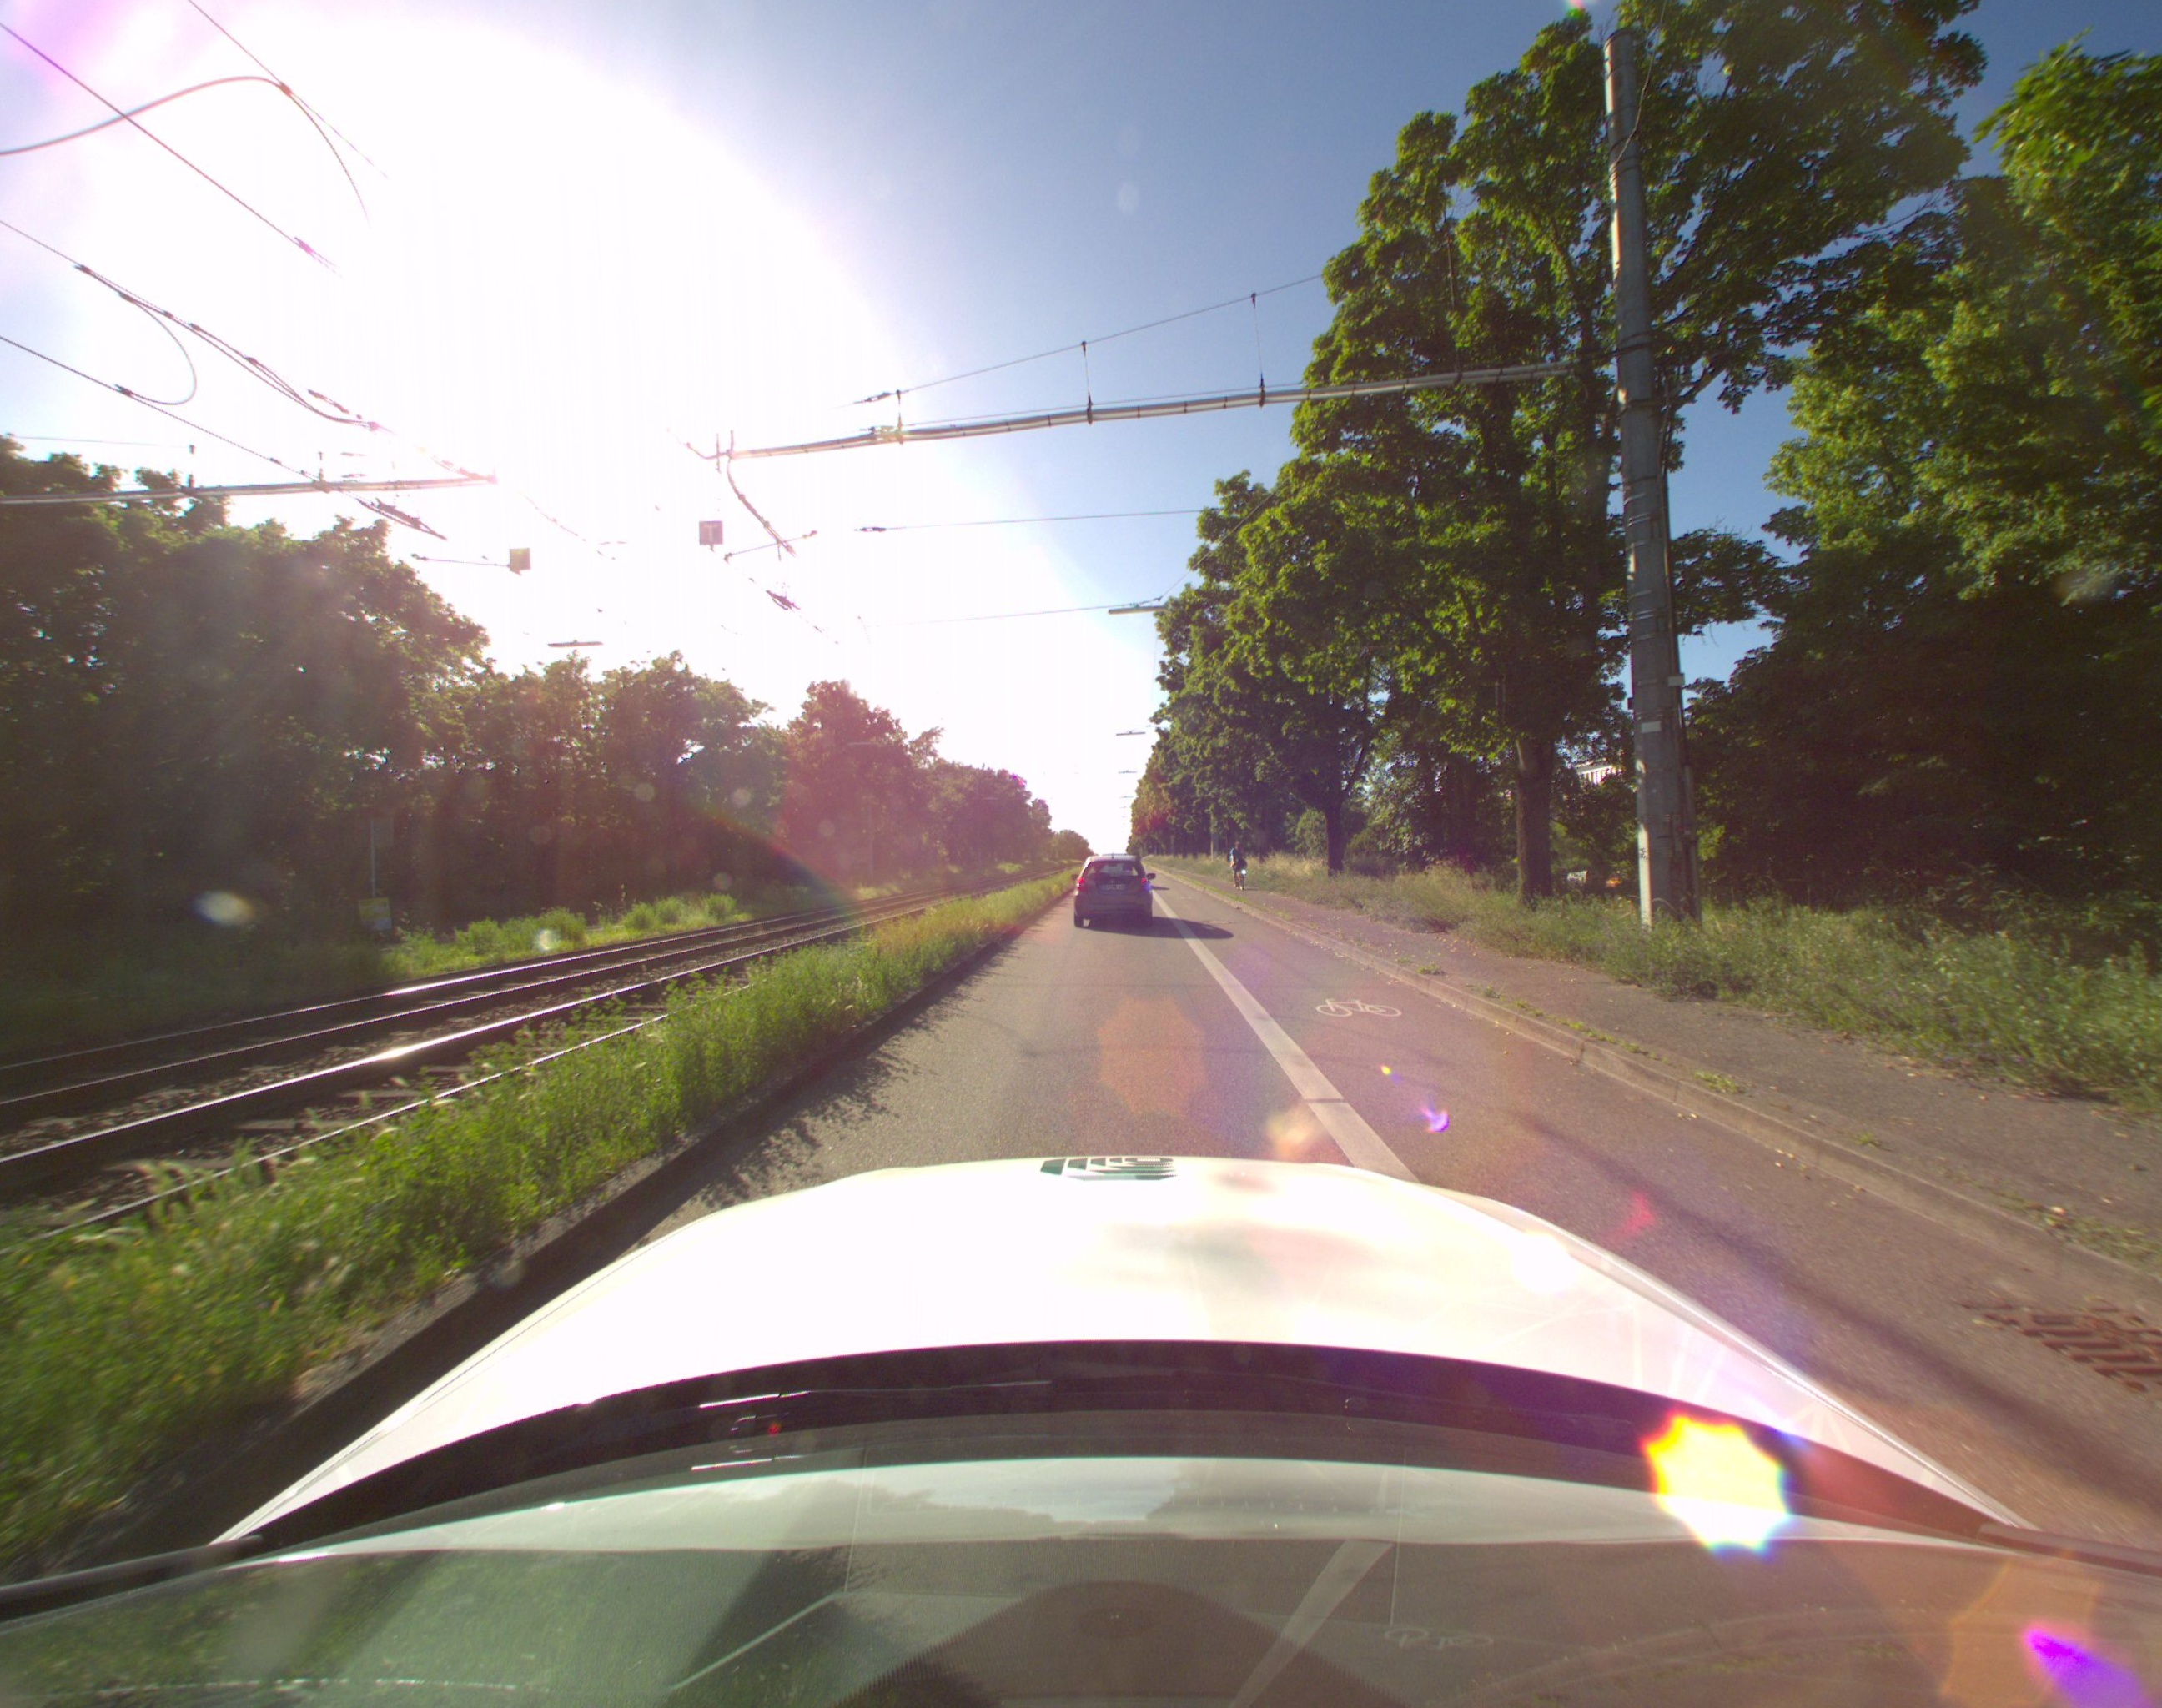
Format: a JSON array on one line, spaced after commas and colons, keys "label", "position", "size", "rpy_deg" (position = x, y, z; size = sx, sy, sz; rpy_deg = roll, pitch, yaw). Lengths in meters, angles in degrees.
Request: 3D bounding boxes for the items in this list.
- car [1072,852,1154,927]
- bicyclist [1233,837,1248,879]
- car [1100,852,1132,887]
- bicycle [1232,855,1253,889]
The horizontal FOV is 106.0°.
[{"label": "car", "position": [0.707, 0.716, 18.525], "size": [1.664, 1.515, 3.675], "rpy_deg": [0, 1, 2]}, {"label": "bicyclist", "position": [5.845, 0.153, 29.853], "size": [0.404, 1.507, 0.575], "rpy_deg": [-2, 0, 2]}, {"label": "car", "position": [1.650, 0.711, 37.741], "size": [1.345, 1.528, 3.126], "rpy_deg": [-2, -1, 4]}, {"label": "bicycle", "position": [5.840, 0.626, 29.504], "size": [0.416, 1.188, 1.722], "rpy_deg": [-2, 0, 2]}]
